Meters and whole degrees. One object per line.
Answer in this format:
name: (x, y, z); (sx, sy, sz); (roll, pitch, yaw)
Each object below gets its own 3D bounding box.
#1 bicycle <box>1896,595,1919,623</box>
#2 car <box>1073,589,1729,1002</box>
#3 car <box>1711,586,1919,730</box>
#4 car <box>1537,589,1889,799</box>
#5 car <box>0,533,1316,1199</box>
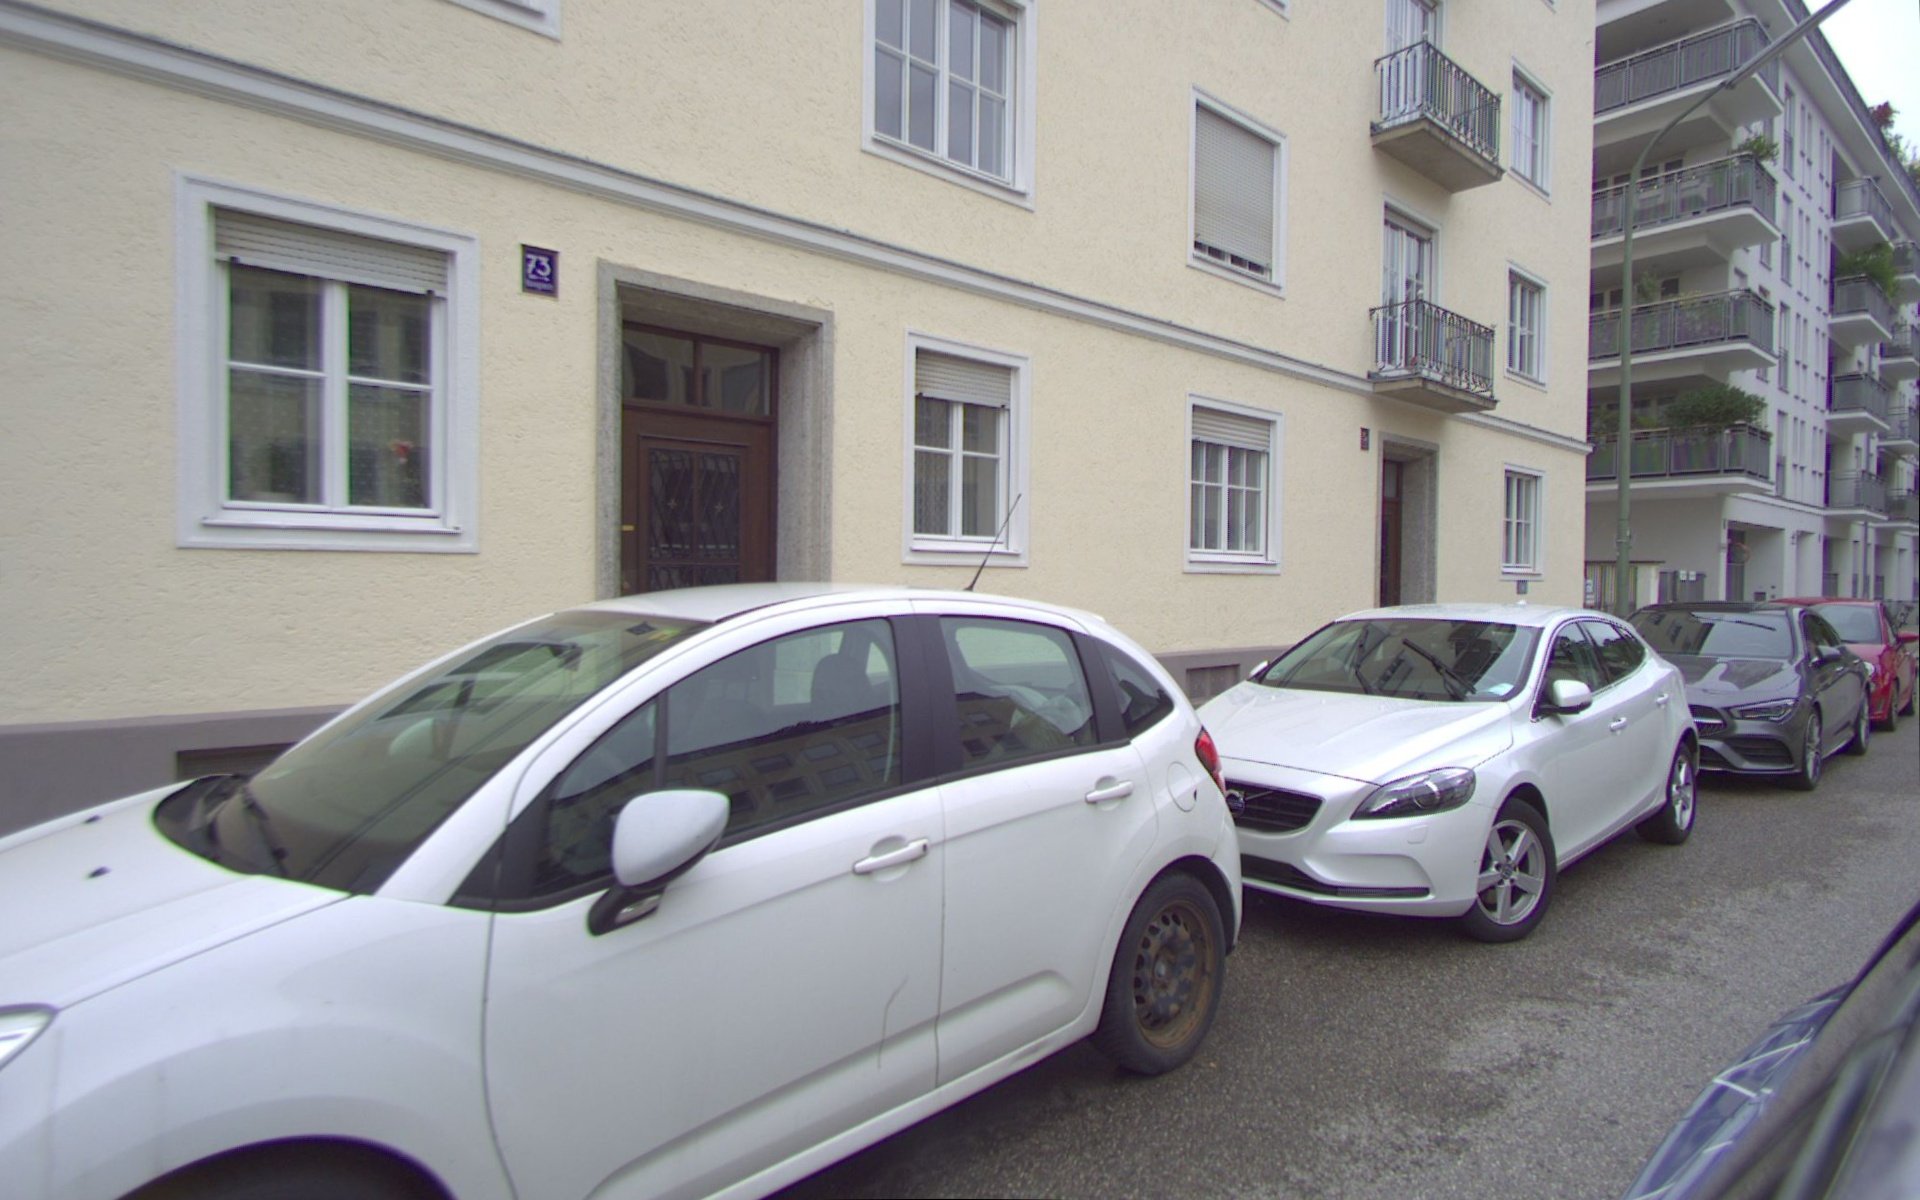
bicycle: (36.843, 0.335, 38.959); (1.913, 1.027, 0.582); (0, 0, -27)
car: (2.725, 0.668, 5.649); (4.366, 1.427, 1.682); (-1, 1, -42)
car: (10.879, 0.590, 12.633); (3.758, 1.516, 1.682); (-1, 1, -42)
car: (6.903, 0.627, 9.093); (4.345, 1.427, 1.682); (-1, 1, -42)
car: (-0.802, 0.634, 2.870); (4.096, 1.500, 1.681); (-1, 1, -42)
